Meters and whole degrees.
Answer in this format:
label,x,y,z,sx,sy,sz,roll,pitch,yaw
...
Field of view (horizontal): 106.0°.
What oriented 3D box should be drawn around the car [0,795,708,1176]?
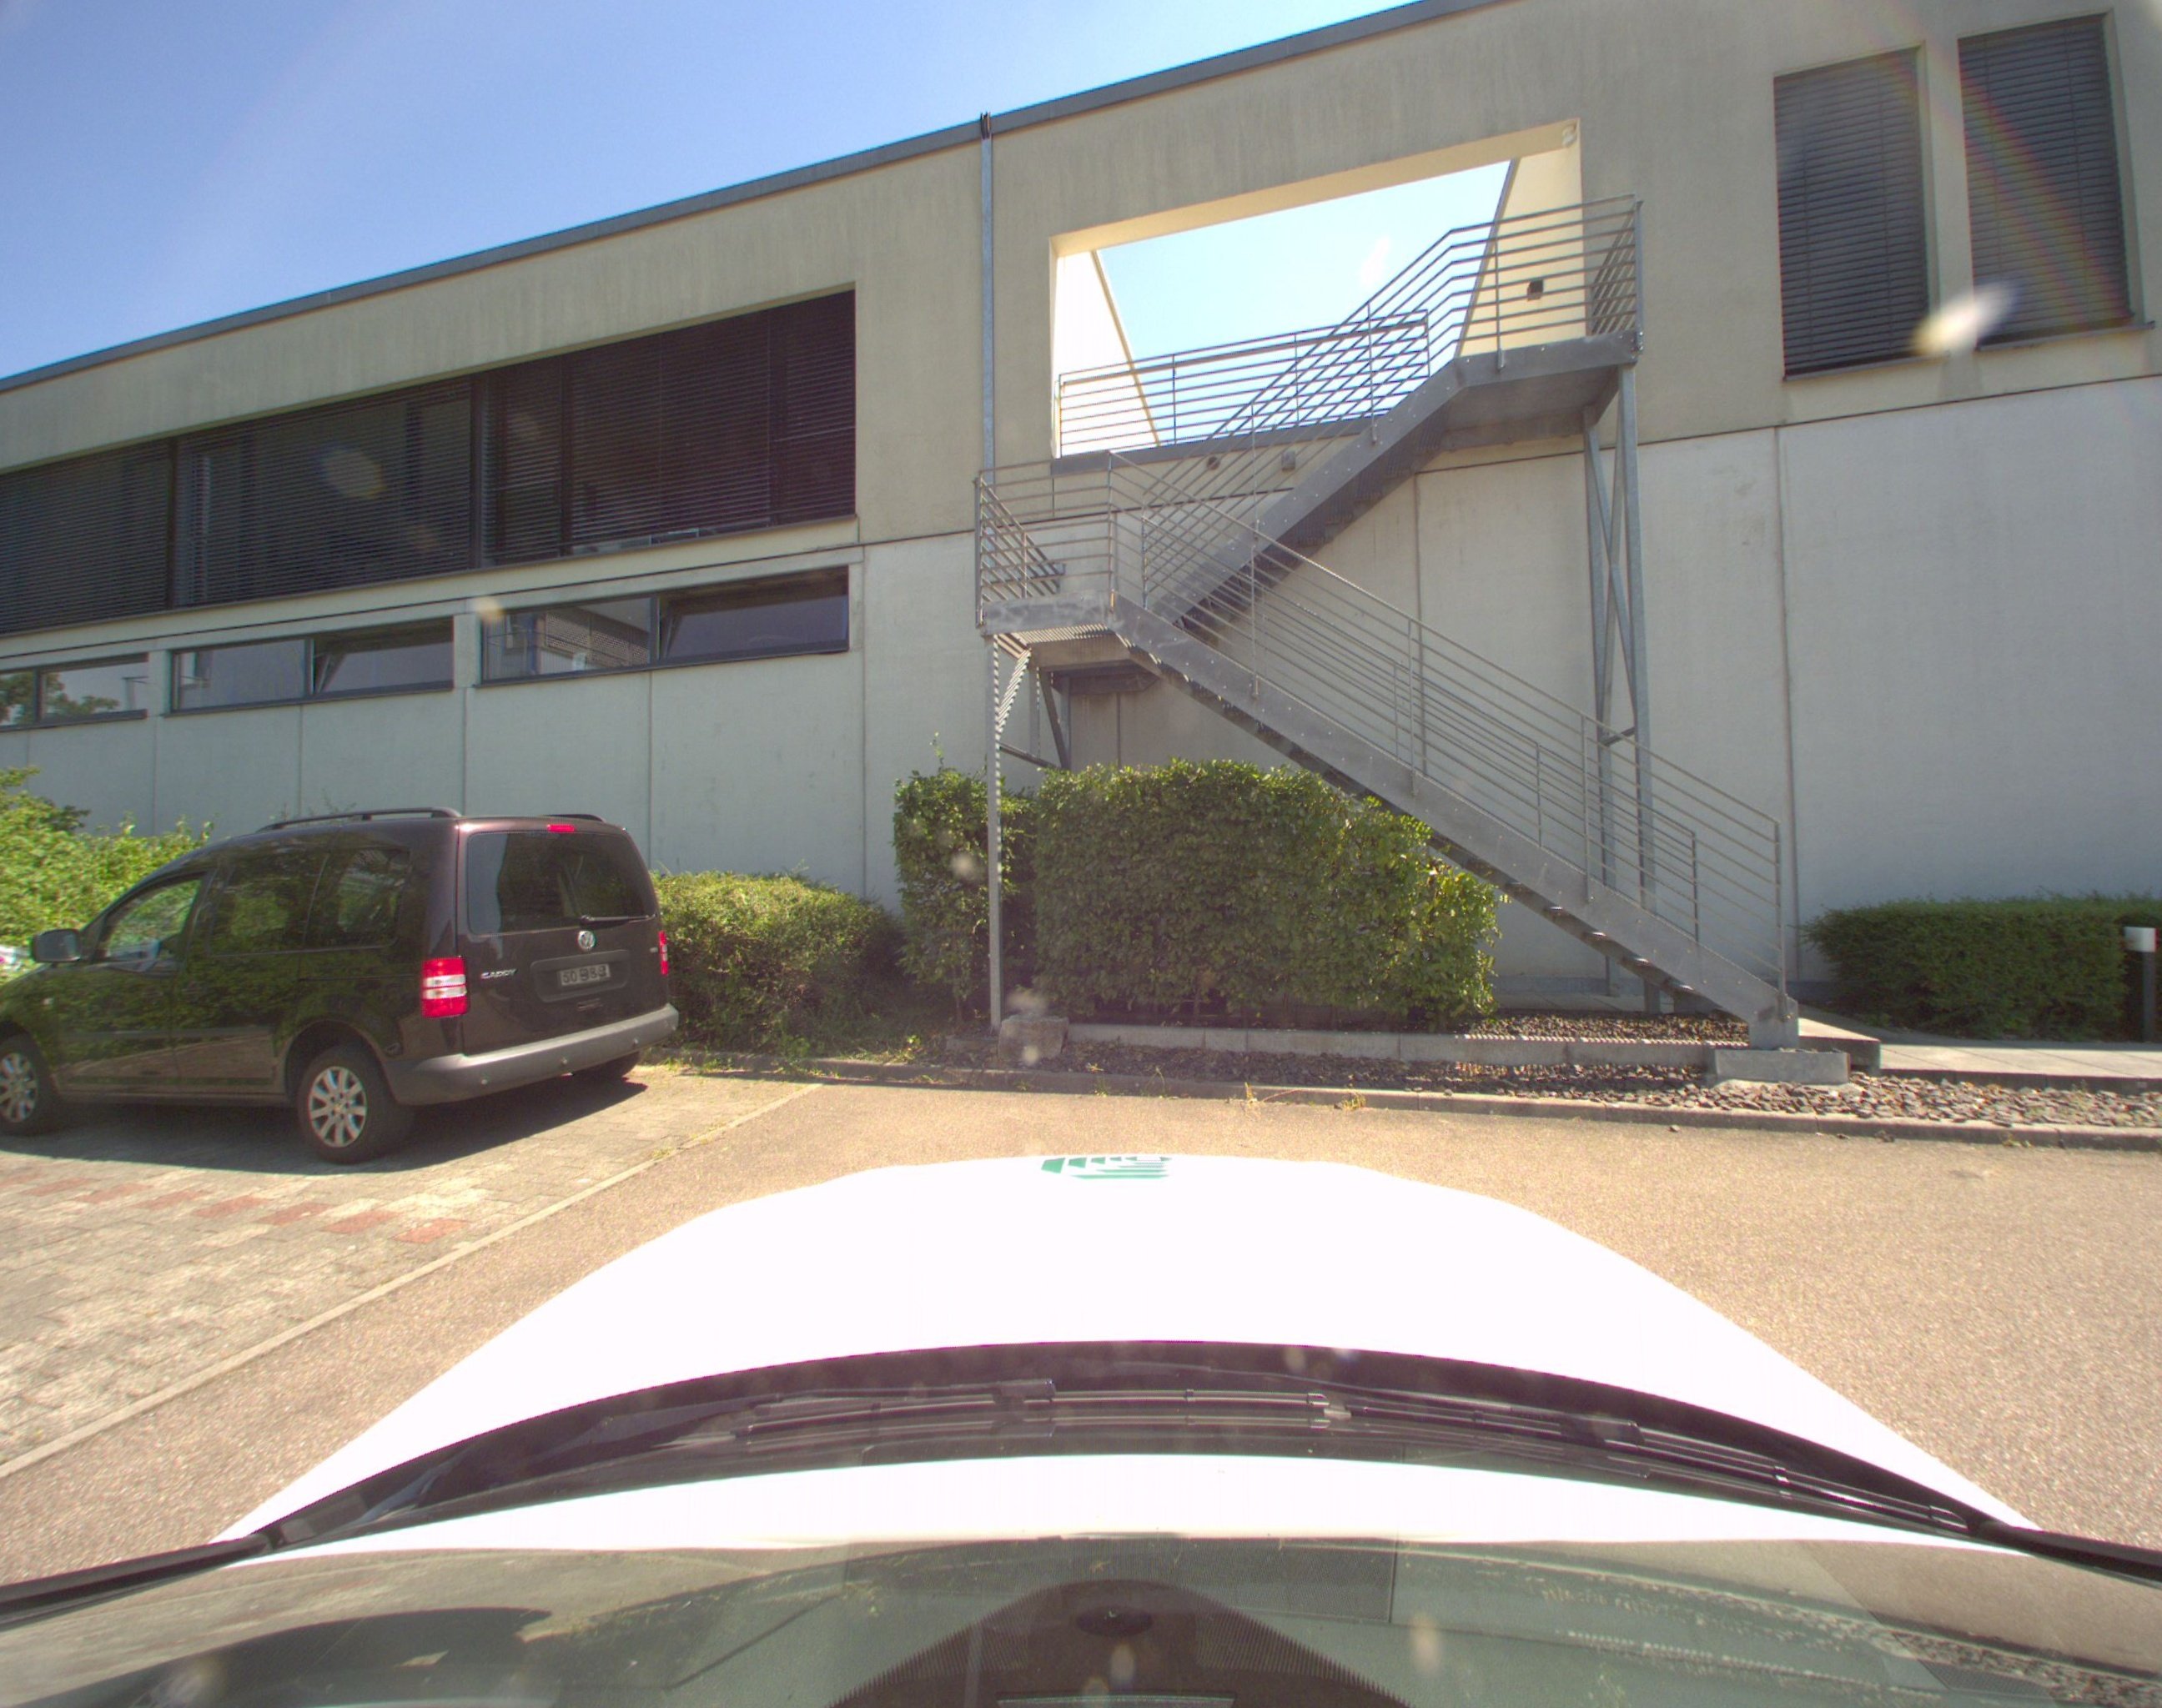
label,x,y,z,sx,sy,sz,roll,pitch,yaw
car,-4.772,0.693,5.376,4.027,1.884,1.686,-1,-1,15
